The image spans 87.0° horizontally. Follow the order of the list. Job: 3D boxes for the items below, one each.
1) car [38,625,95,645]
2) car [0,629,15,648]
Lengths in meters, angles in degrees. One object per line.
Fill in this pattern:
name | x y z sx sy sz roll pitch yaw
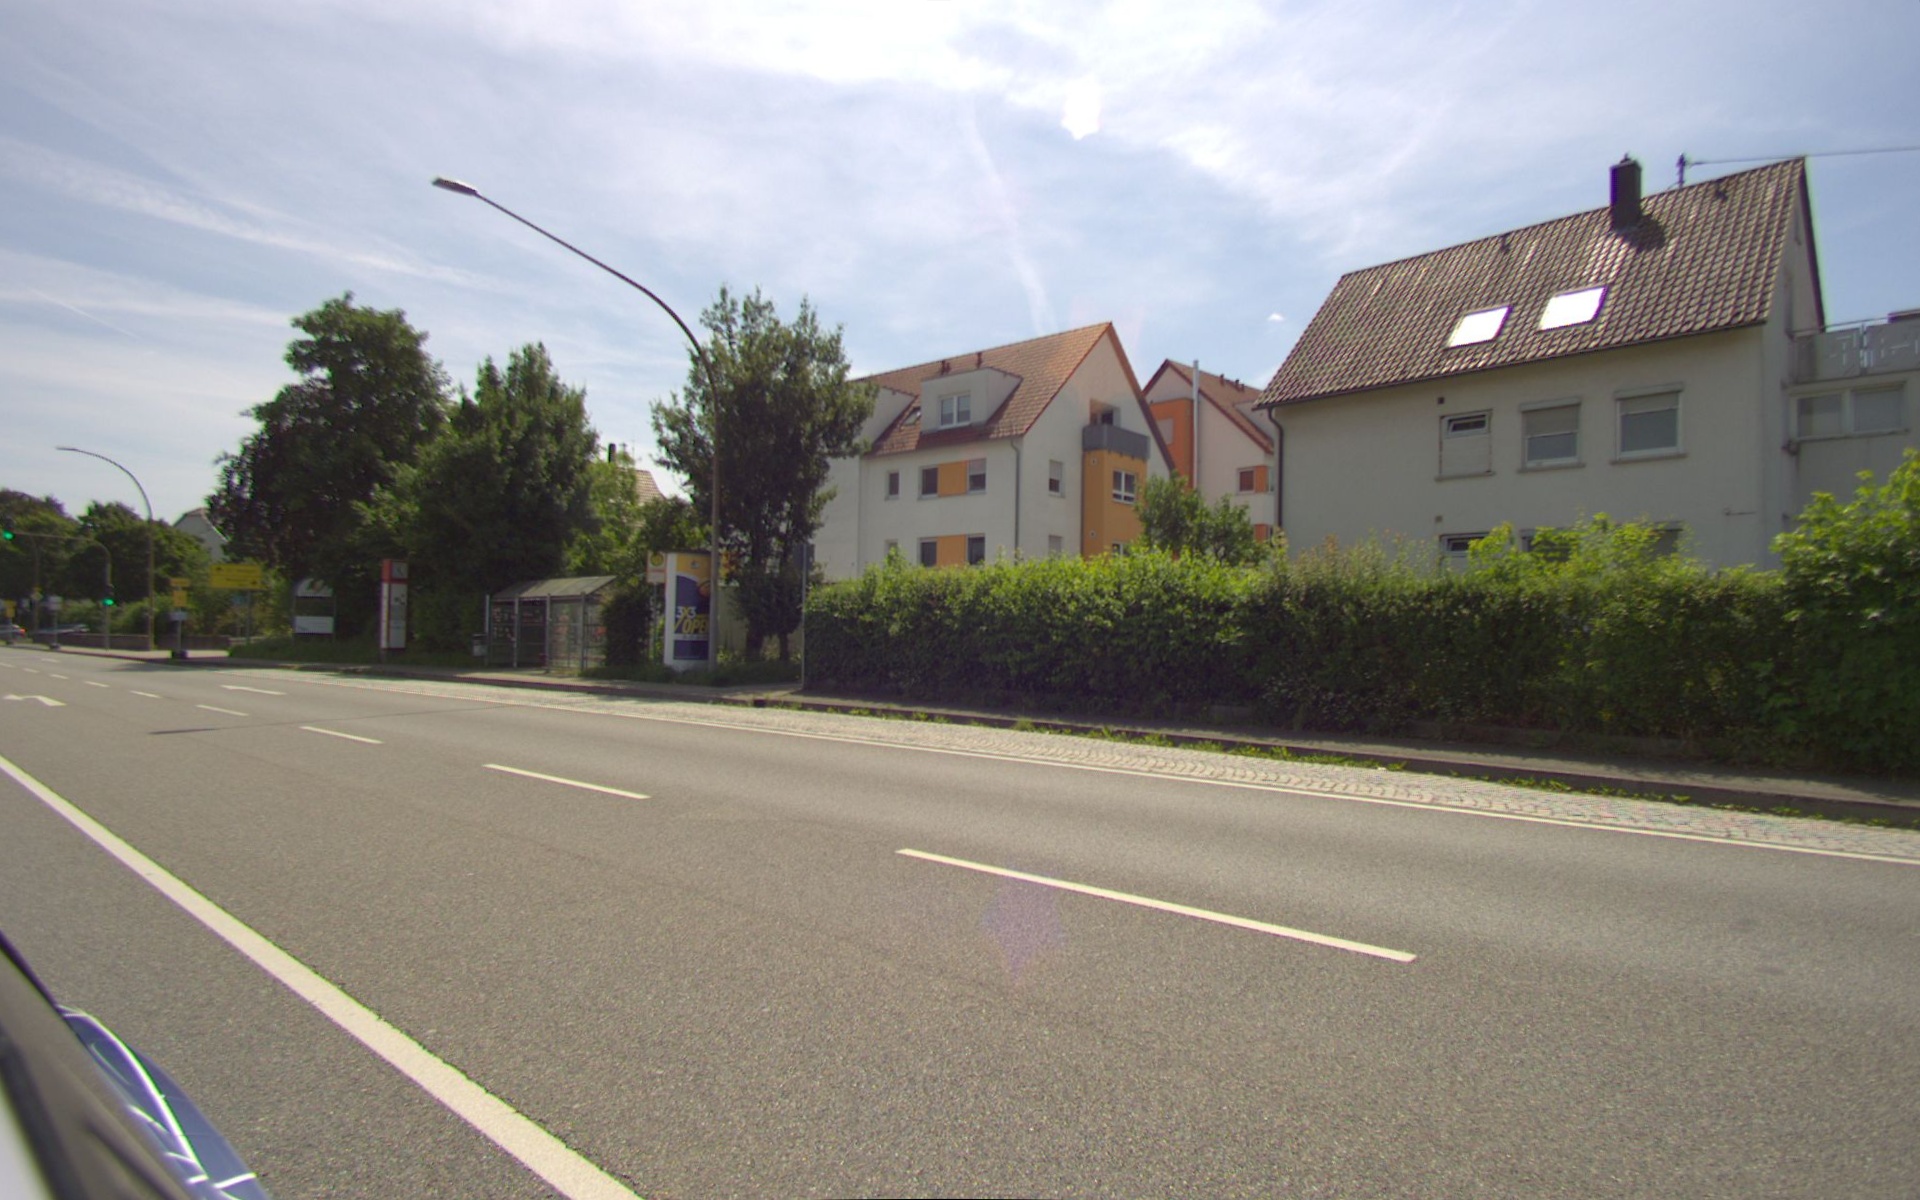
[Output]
car | -87.747 3.433 99.434 1.997 1.783 3.949 0 0 38
car | -91.168 3.651 94.567 1.996 1.767 3.951 0 0 36
